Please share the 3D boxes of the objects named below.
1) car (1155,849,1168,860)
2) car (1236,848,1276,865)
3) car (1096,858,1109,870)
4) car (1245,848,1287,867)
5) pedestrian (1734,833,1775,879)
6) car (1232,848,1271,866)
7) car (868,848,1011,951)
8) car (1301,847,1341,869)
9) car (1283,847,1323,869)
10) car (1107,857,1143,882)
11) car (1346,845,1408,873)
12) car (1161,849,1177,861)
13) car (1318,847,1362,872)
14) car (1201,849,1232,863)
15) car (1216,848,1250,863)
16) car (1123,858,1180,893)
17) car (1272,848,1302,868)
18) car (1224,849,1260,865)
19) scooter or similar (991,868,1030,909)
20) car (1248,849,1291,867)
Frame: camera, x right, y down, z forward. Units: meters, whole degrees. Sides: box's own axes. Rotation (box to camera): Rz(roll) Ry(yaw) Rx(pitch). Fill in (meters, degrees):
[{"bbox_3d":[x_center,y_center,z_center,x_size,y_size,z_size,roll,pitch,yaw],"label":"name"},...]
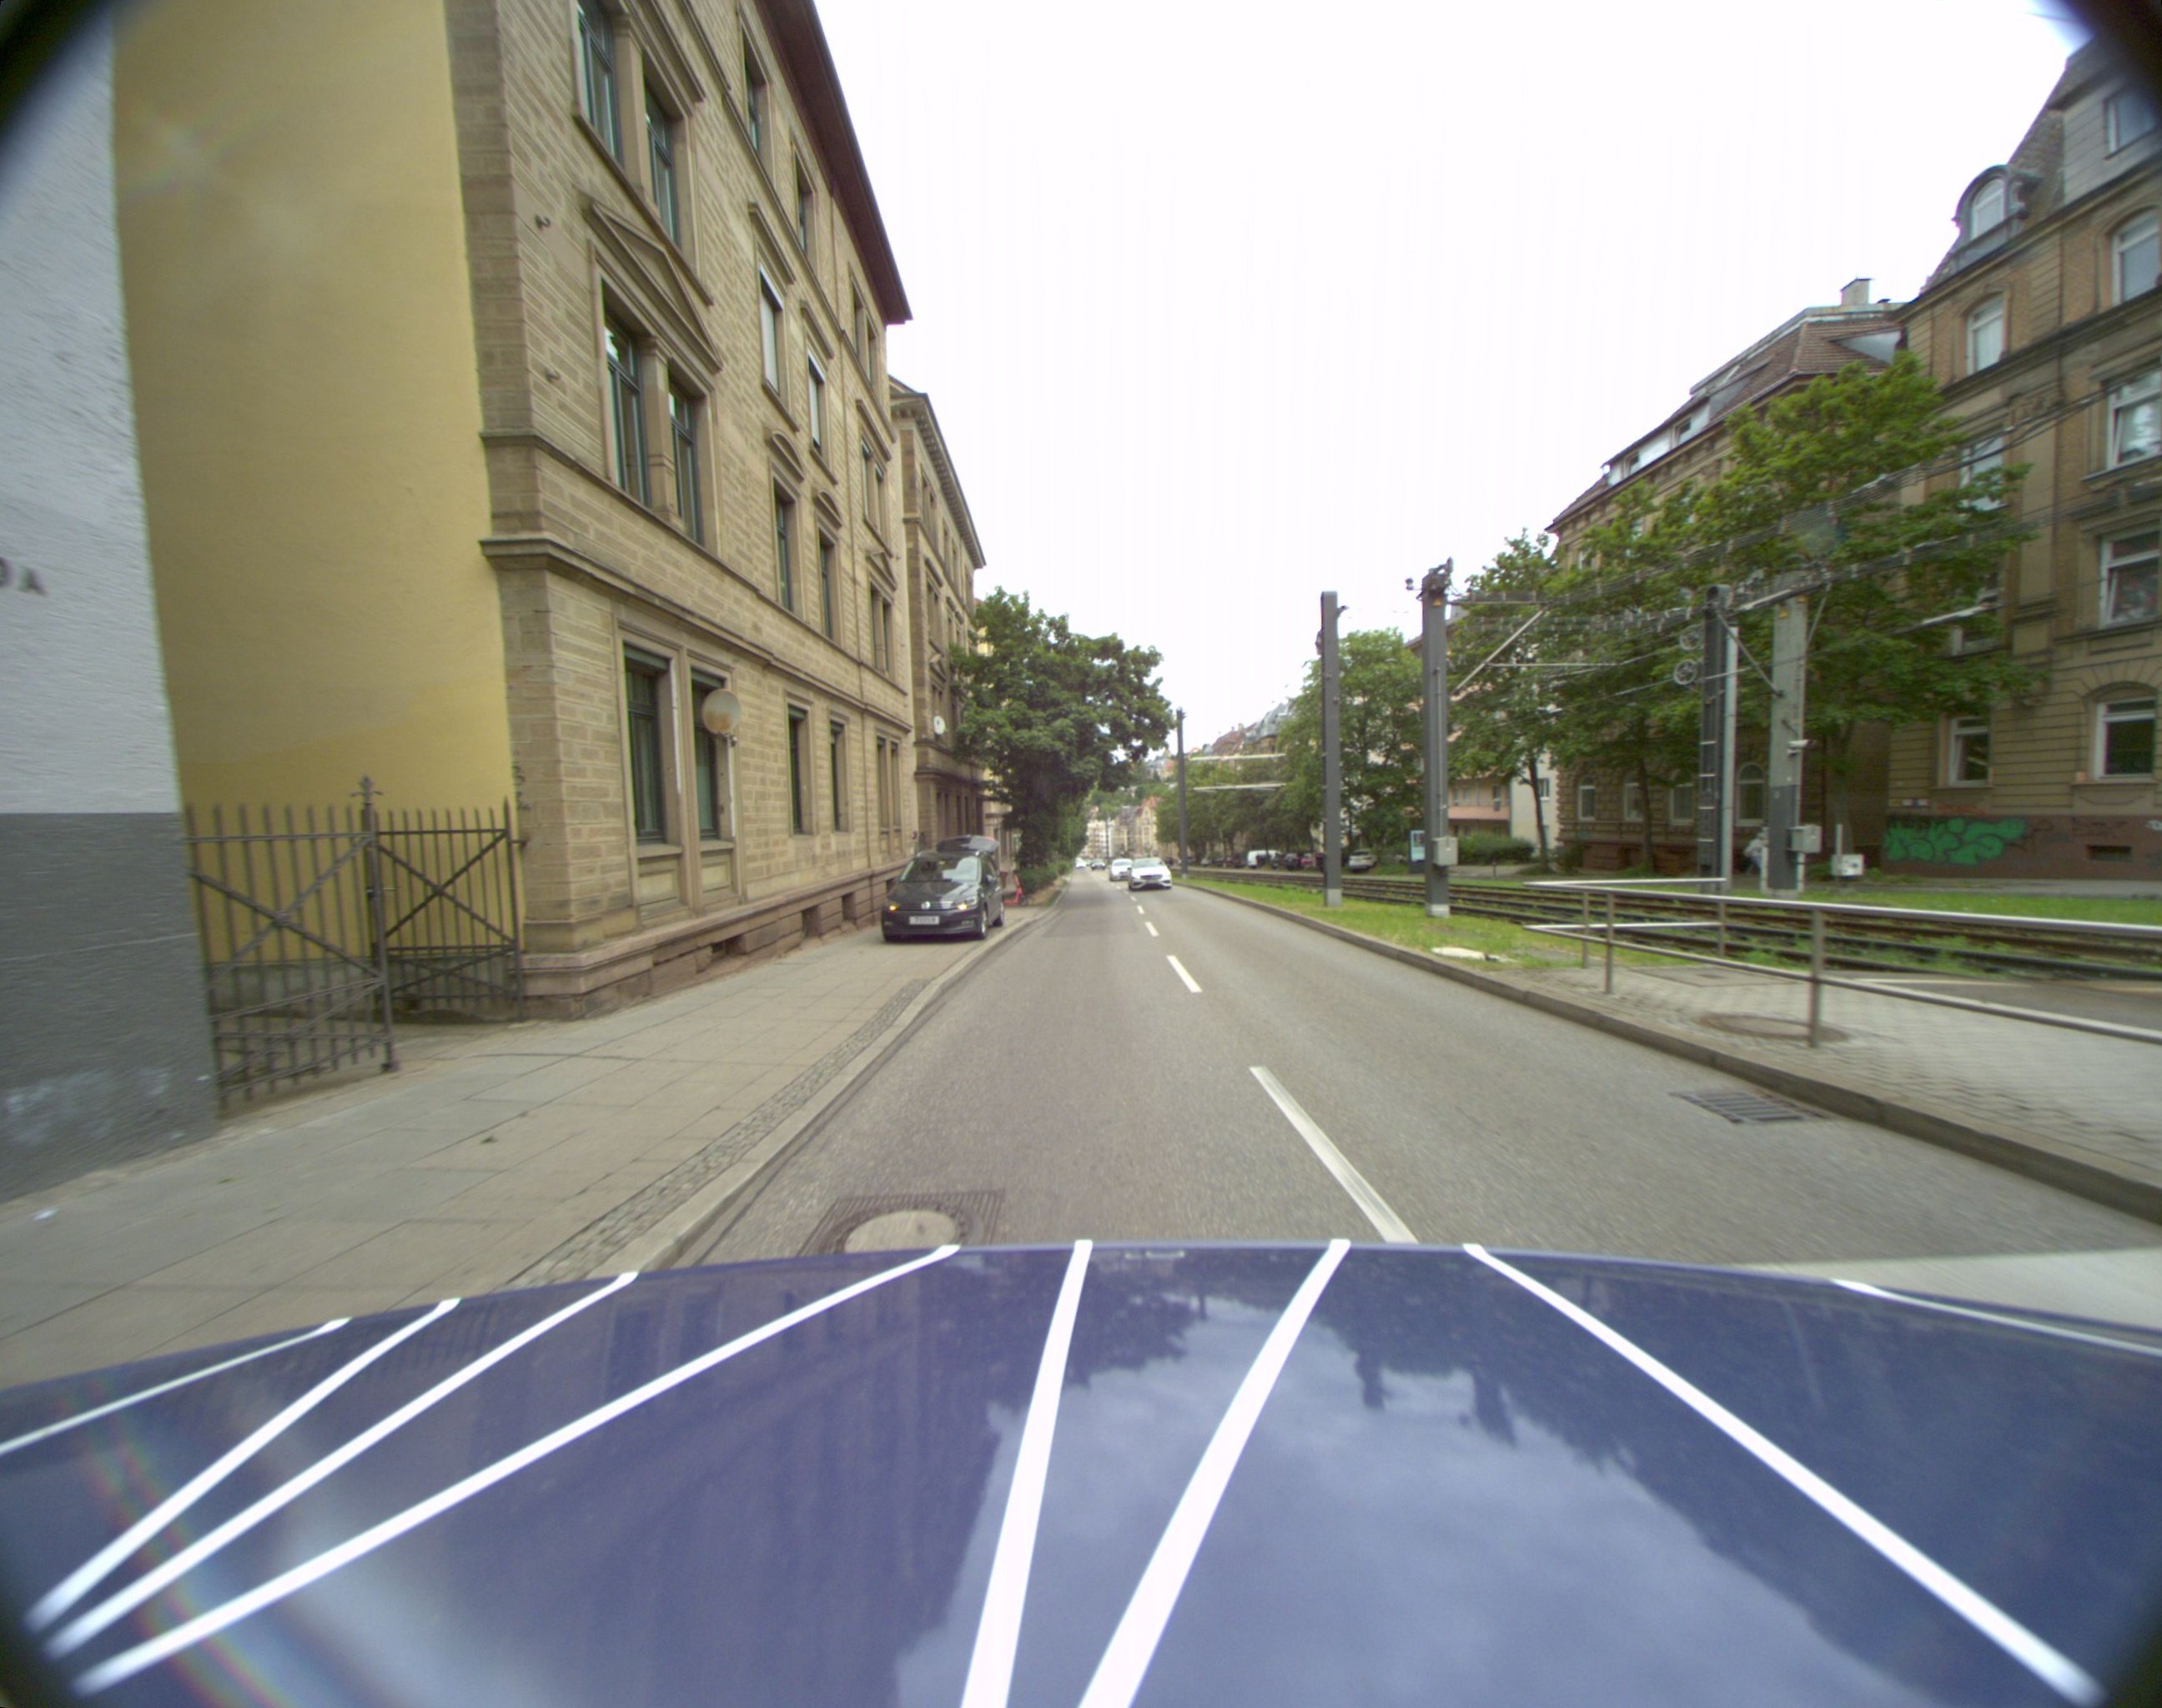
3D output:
[{"bbox_3d":[15.610,0.124,147.299,1.998,2.002,4.000,-2,0,1],"label":"car"},{"bbox_3d":[19.316,0.272,83.890,3.860,1.803,1.782,-2,0,-15],"label":"car"},{"bbox_3d":[3.070,1.418,109.316,1.881,1.727,4.000,-2,0,1],"label":"car"},{"bbox_3d":[18.941,0.321,77.833,3.862,1.803,1.781,-2,0,-23],"label":"car"},{"bbox_3d":[22.799,0.053,25.736,0.689,1.504,0.740,-3,1,1],"label":"pedestrian"},{"bbox_3d":[19.363,0.313,86.209,3.859,1.804,1.782,-3,1,-15],"label":"car"},{"bbox_3d":[-2.559,0.768,14.855,1.862,1.701,4.308,-1,0,1],"label":"car"},{"bbox_3d":[19.784,0.299,62.609,1.780,1.678,3.865,-2,0,40],"label":"car"},{"bbox_3d":[18.955,0.345,64.854,1.780,1.678,3.865,-2,2,41],"label":"car"},{"bbox_3d":[3.040,1.044,53.169,1.999,1.479,4.229,-4,0,-2],"label":"car"},{"bbox_3d":[19.448,0.317,49.964,3.864,1.678,1.780,-3,1,-32],"label":"car"},{"bbox_3d":[15.454,0.220,134.035,1.999,2.002,3.998,-2,0,-6],"label":"car"},{"bbox_3d":[19.038,0.367,55.818,1.780,1.678,3.865,-2,0,40],"label":"car"},{"bbox_3d":[18.892,0.328,106.242,3.860,1.803,1.782,-2,0,-15],"label":"car"},{"bbox_3d":[19.557,0.196,97.583,3.860,1.803,1.782,-2,0,-15],"label":"car"},{"bbox_3d":[3.145,0.933,34.775,1.999,1.390,4.229,-4,0,-2],"label":"car"},{"bbox_3d":[19.197,0.360,70.680,1.780,1.678,3.864,-2,1,28],"label":"car"},{"bbox_3d":[19.453,0.310,92.063,3.860,1.803,1.782,-2,0,-15],"label":"car"},{"bbox_3d":[-2.281,1.108,24.641,1.199,1.266,0.629,1,1,-9],"label":"scooter or similar"},{"bbox_3d":[18.713,0.416,75.410,3.862,1.678,1.781,-2,0,-23],"label":"car"}]
